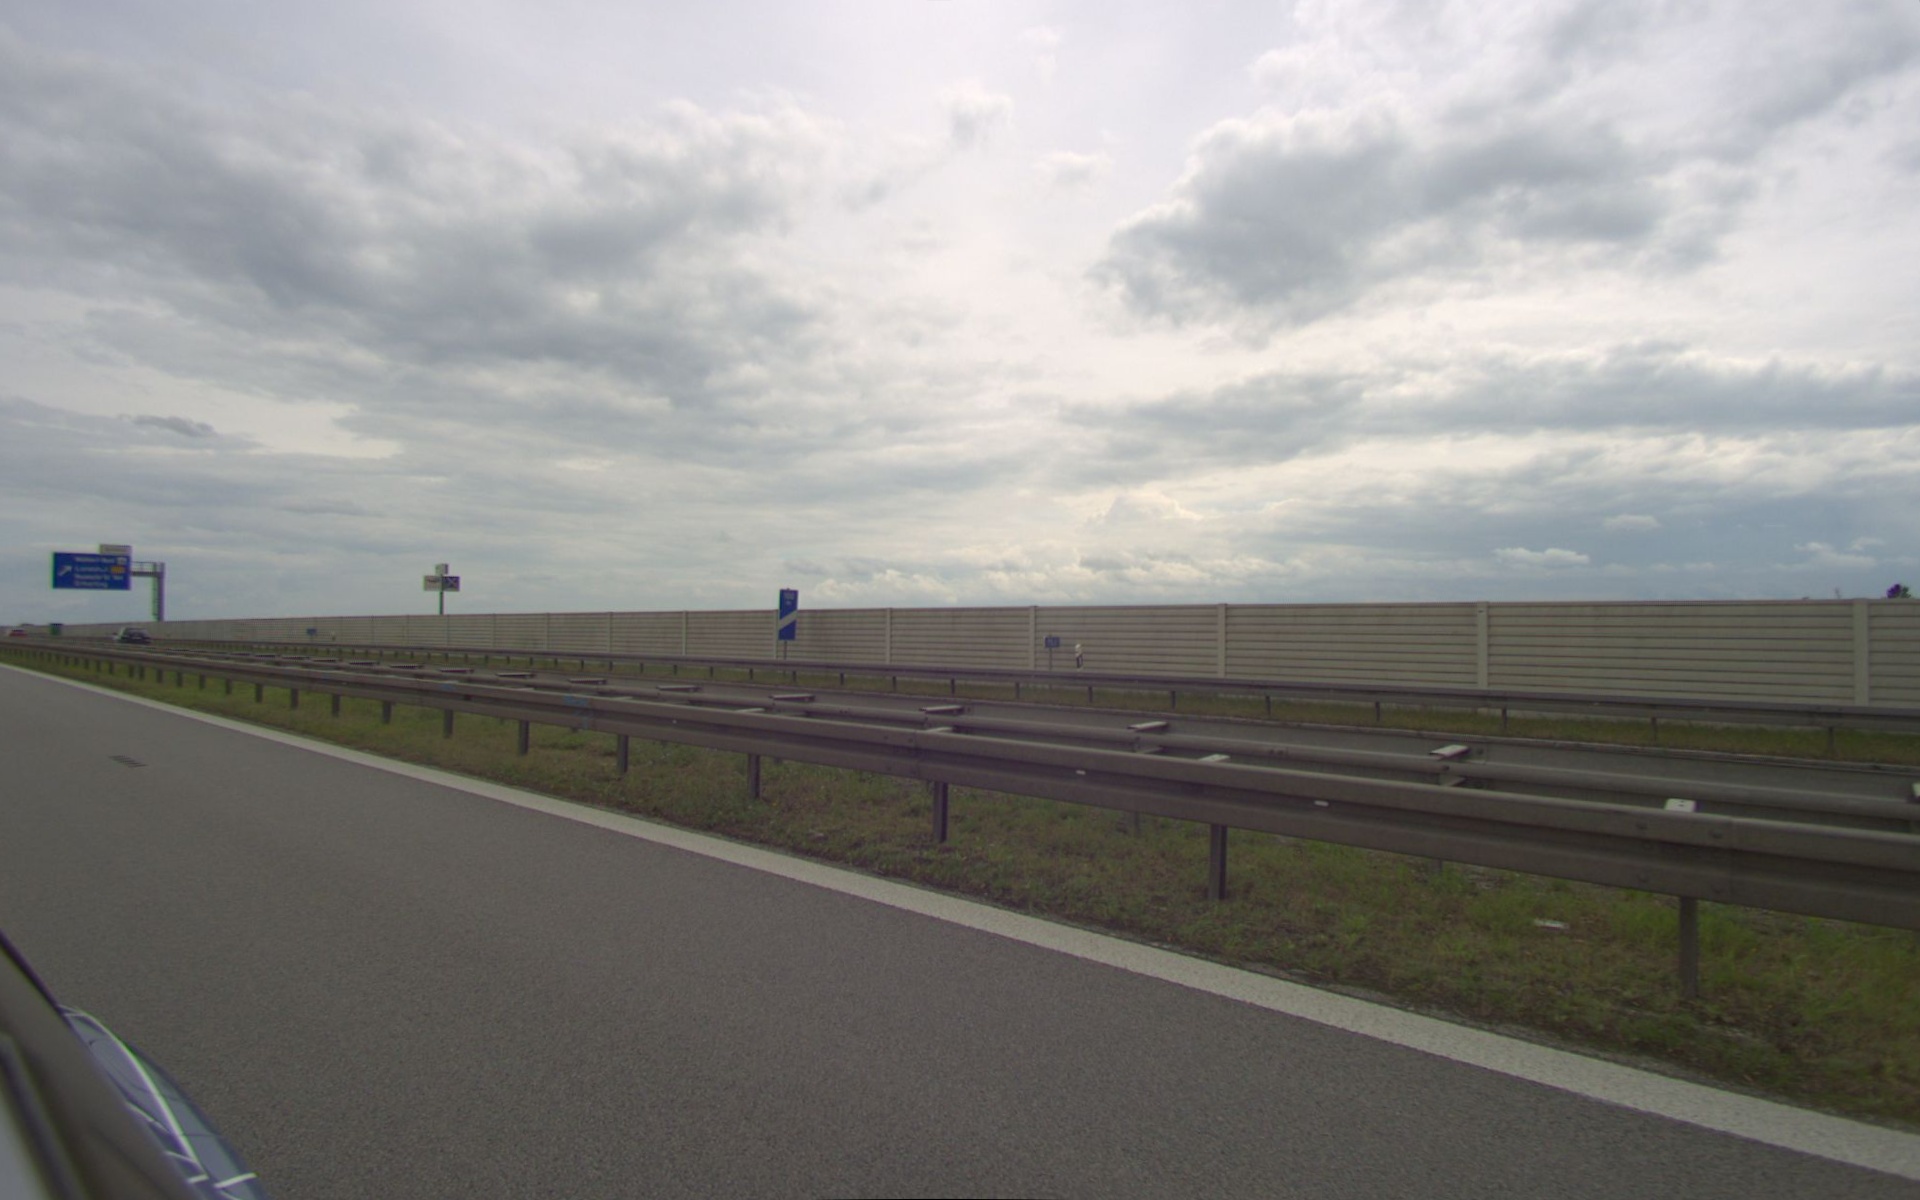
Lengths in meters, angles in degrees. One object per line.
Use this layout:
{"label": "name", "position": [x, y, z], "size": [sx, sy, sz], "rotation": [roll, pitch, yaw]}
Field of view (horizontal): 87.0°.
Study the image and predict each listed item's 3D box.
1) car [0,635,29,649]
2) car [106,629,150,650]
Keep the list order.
{"label": "car", "position": [-97.890, 4.323, 104.684], "size": [4.875, 1.414, 1.798], "rotation": [-2, -3, 42]}
{"label": "car", "position": [-57.986, 2.726, 70.513], "size": [4.607, 1.339, 1.641], "rotation": [-1, -6, 42]}
